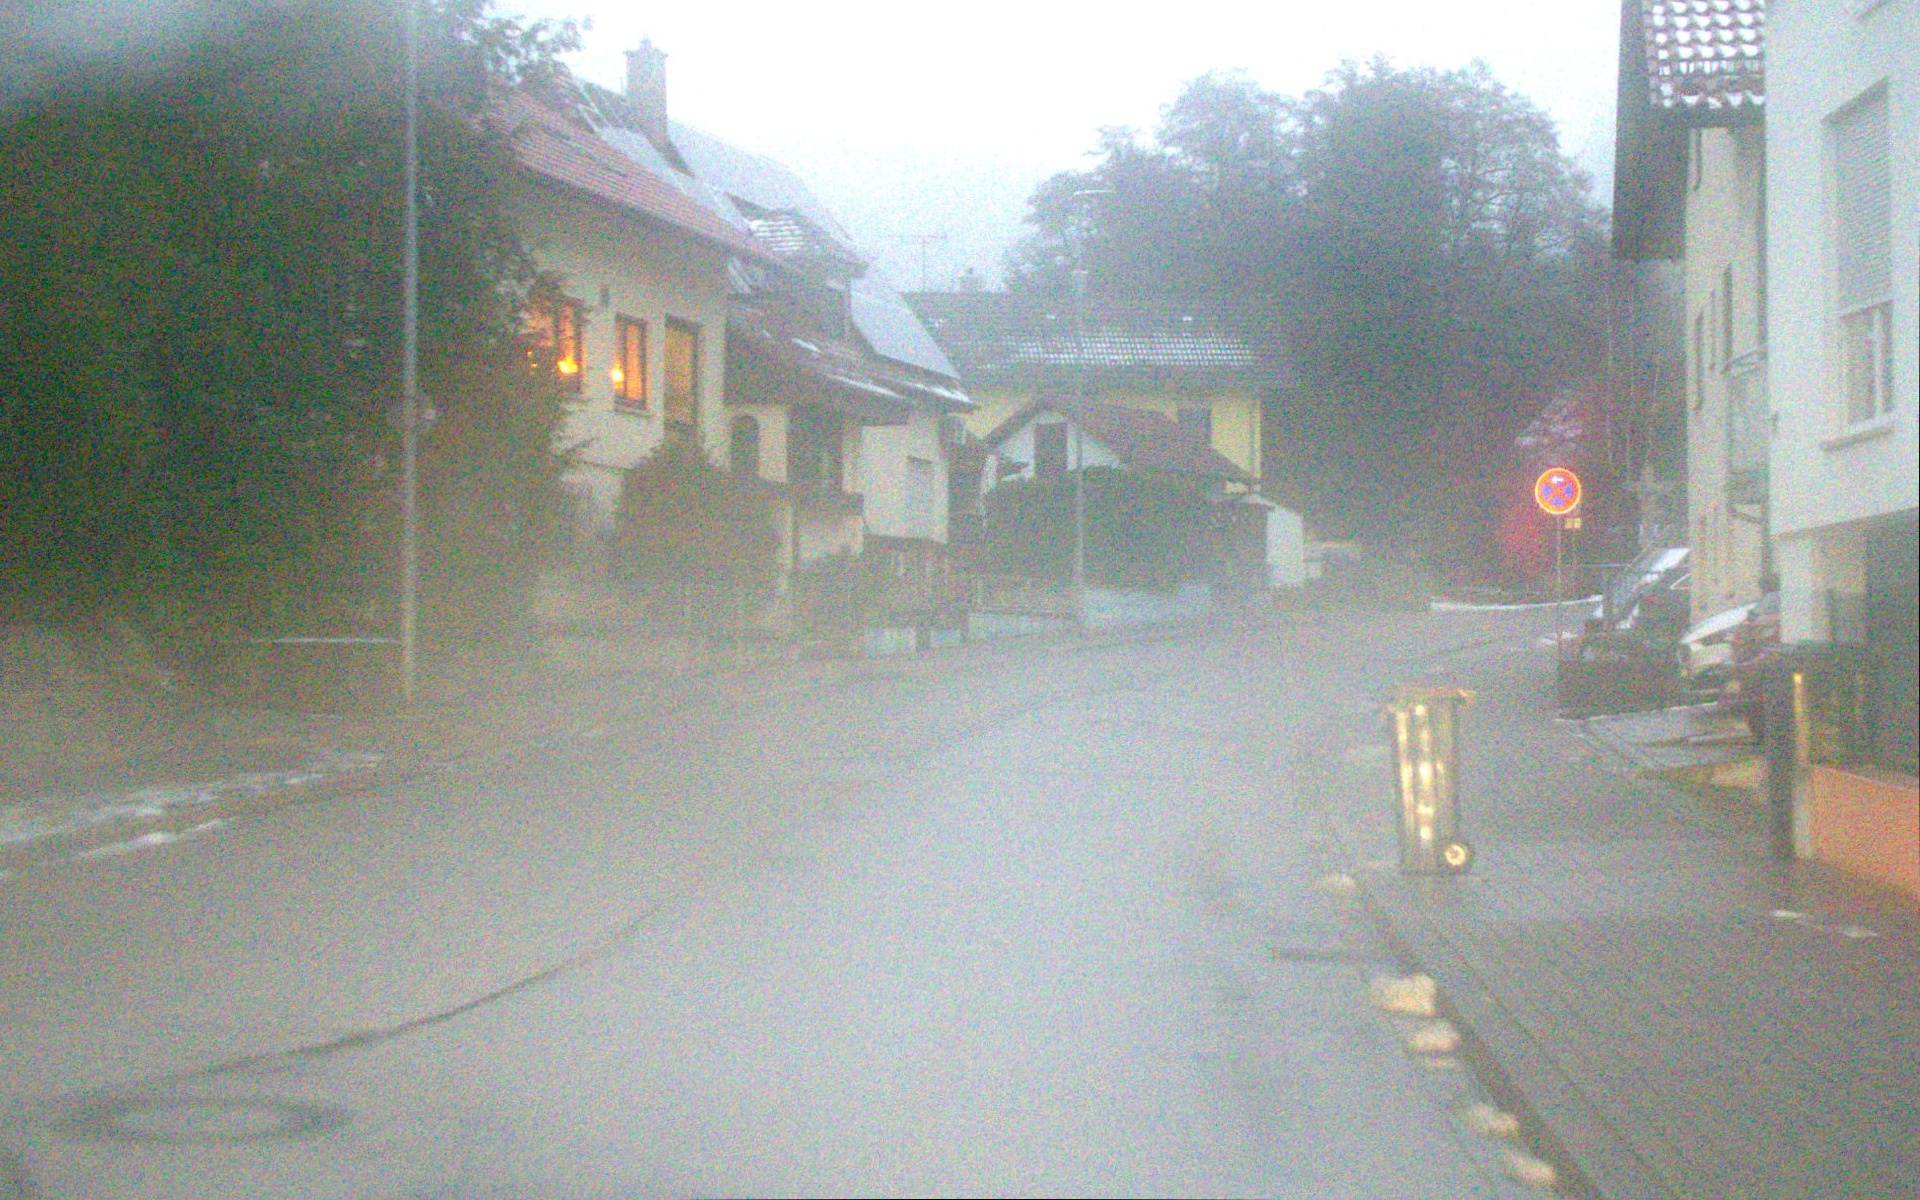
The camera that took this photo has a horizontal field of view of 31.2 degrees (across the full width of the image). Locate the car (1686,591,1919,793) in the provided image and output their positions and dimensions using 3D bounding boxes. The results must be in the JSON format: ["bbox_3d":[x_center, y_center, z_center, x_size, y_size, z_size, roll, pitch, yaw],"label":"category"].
[{"bbox_3d":[7.882,0.661,26.917,3.987,1.452,1.690,-2,1,0],"label":"car"}]

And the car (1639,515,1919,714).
[{"bbox_3d":[8.512,-0.006,31.255,4.281,1.452,1.779,-8,-1,6],"label":"car"}]

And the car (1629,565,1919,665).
[{"bbox_3d":[13.047,0.237,54.888,4.507,1.439,1.999,-1,1,15],"label":"car"}]

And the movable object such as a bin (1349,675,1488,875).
[{"bbox_3d":[2.287,0.868,17.198,0.614,0.943,0.595,-4,-1,6],"label":"movable object such as a bin"}]
